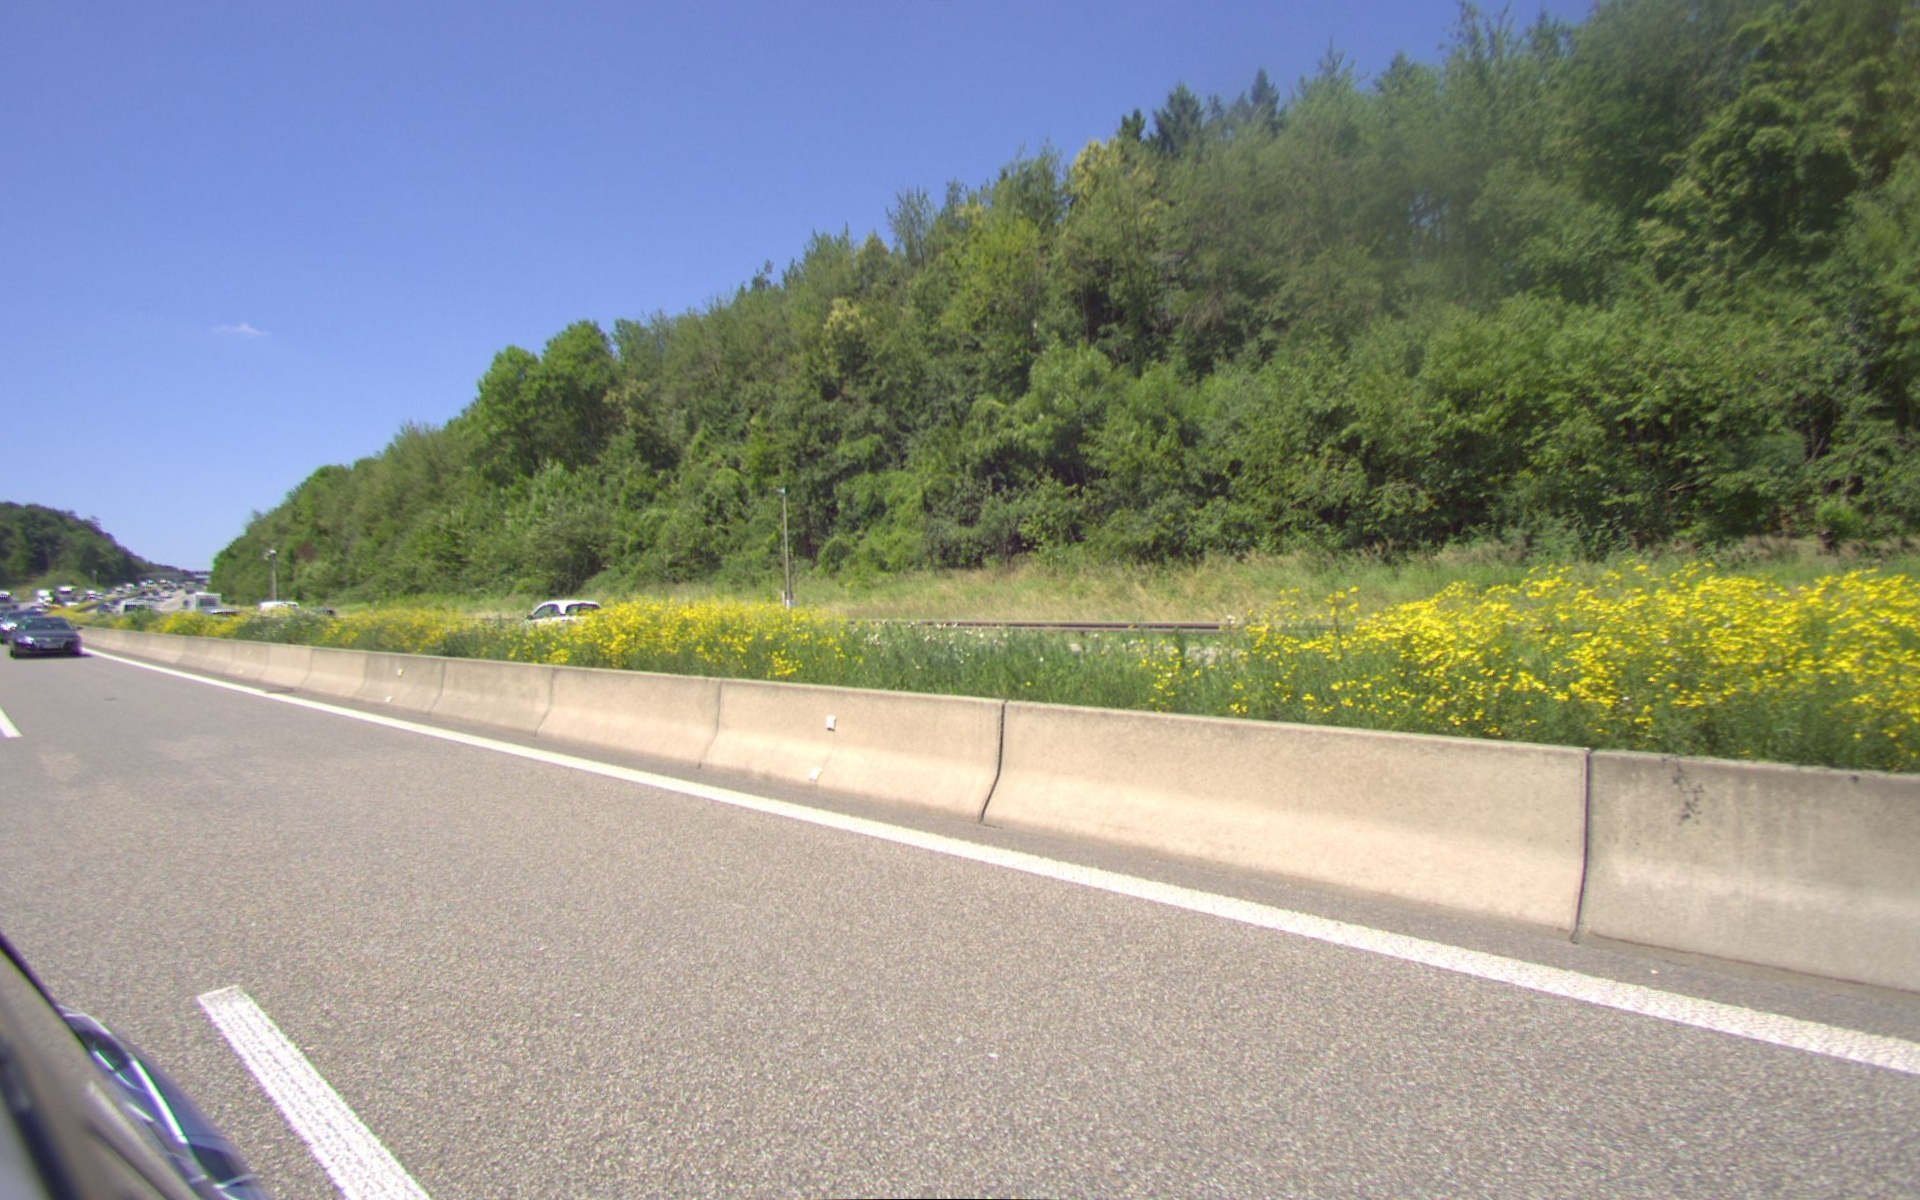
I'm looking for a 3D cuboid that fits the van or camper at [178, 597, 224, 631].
[{"bbox_3d":[-78.906,1.396,105.103,9.006,3.342,2.511,0,0,45],"label":"van or camper"}]

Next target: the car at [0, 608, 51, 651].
[{"bbox_3d":[-47.176,1.424,50.825,4.001,2.029,1.971,0,0,44],"label":"car"}]

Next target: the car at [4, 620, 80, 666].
[{"bbox_3d":[-32.131,1.464,35.389,4.001,1.490,1.697,-1,-1,44],"label":"car"}]

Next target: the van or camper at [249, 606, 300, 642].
[{"bbox_3d":[-40.115,1.362,59.160,4.214,2.028,1.673,-1,-1,45],"label":"van or camper"}]

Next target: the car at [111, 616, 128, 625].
[{"bbox_3d":[-147.616,3.583,177.675,1.970,1.599,4.276,0,-1,-44],"label":"car"}]

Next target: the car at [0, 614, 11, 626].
[{"bbox_3d":[-148.398,3.137,156.684,1.968,1.751,4.007,0,0,-40],"label":"car"}]

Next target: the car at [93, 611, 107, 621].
[{"bbox_3d":[-171.426,3.160,201.660,1.969,2.029,4.005,0,0,-42],"label":"car"}]

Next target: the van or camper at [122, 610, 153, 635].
[{"bbox_3d":[-98.224,2.638,120.844,2.232,2.921,6.560,0,-1,-45],"label":"van or camper"}]

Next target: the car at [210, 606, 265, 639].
[{"bbox_3d":[-37.702,1.136,52.789,1.857,1.576,3.686,0,0,-43],"label":"car"}]

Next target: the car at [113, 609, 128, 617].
[{"bbox_3d":[-168.585,2.643,203.148,1.970,1.602,4.165,0,0,-44],"label":"car"}]

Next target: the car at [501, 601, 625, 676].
[{"bbox_3d":[-11.746,1.066,29.848,4.000,2.029,1.858,0,0,43],"label":"car"}]

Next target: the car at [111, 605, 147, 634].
[{"bbox_3d":[-82.821,1.966,100.871,5.749,2.762,2.176,-1,-1,44],"label":"car"}]
